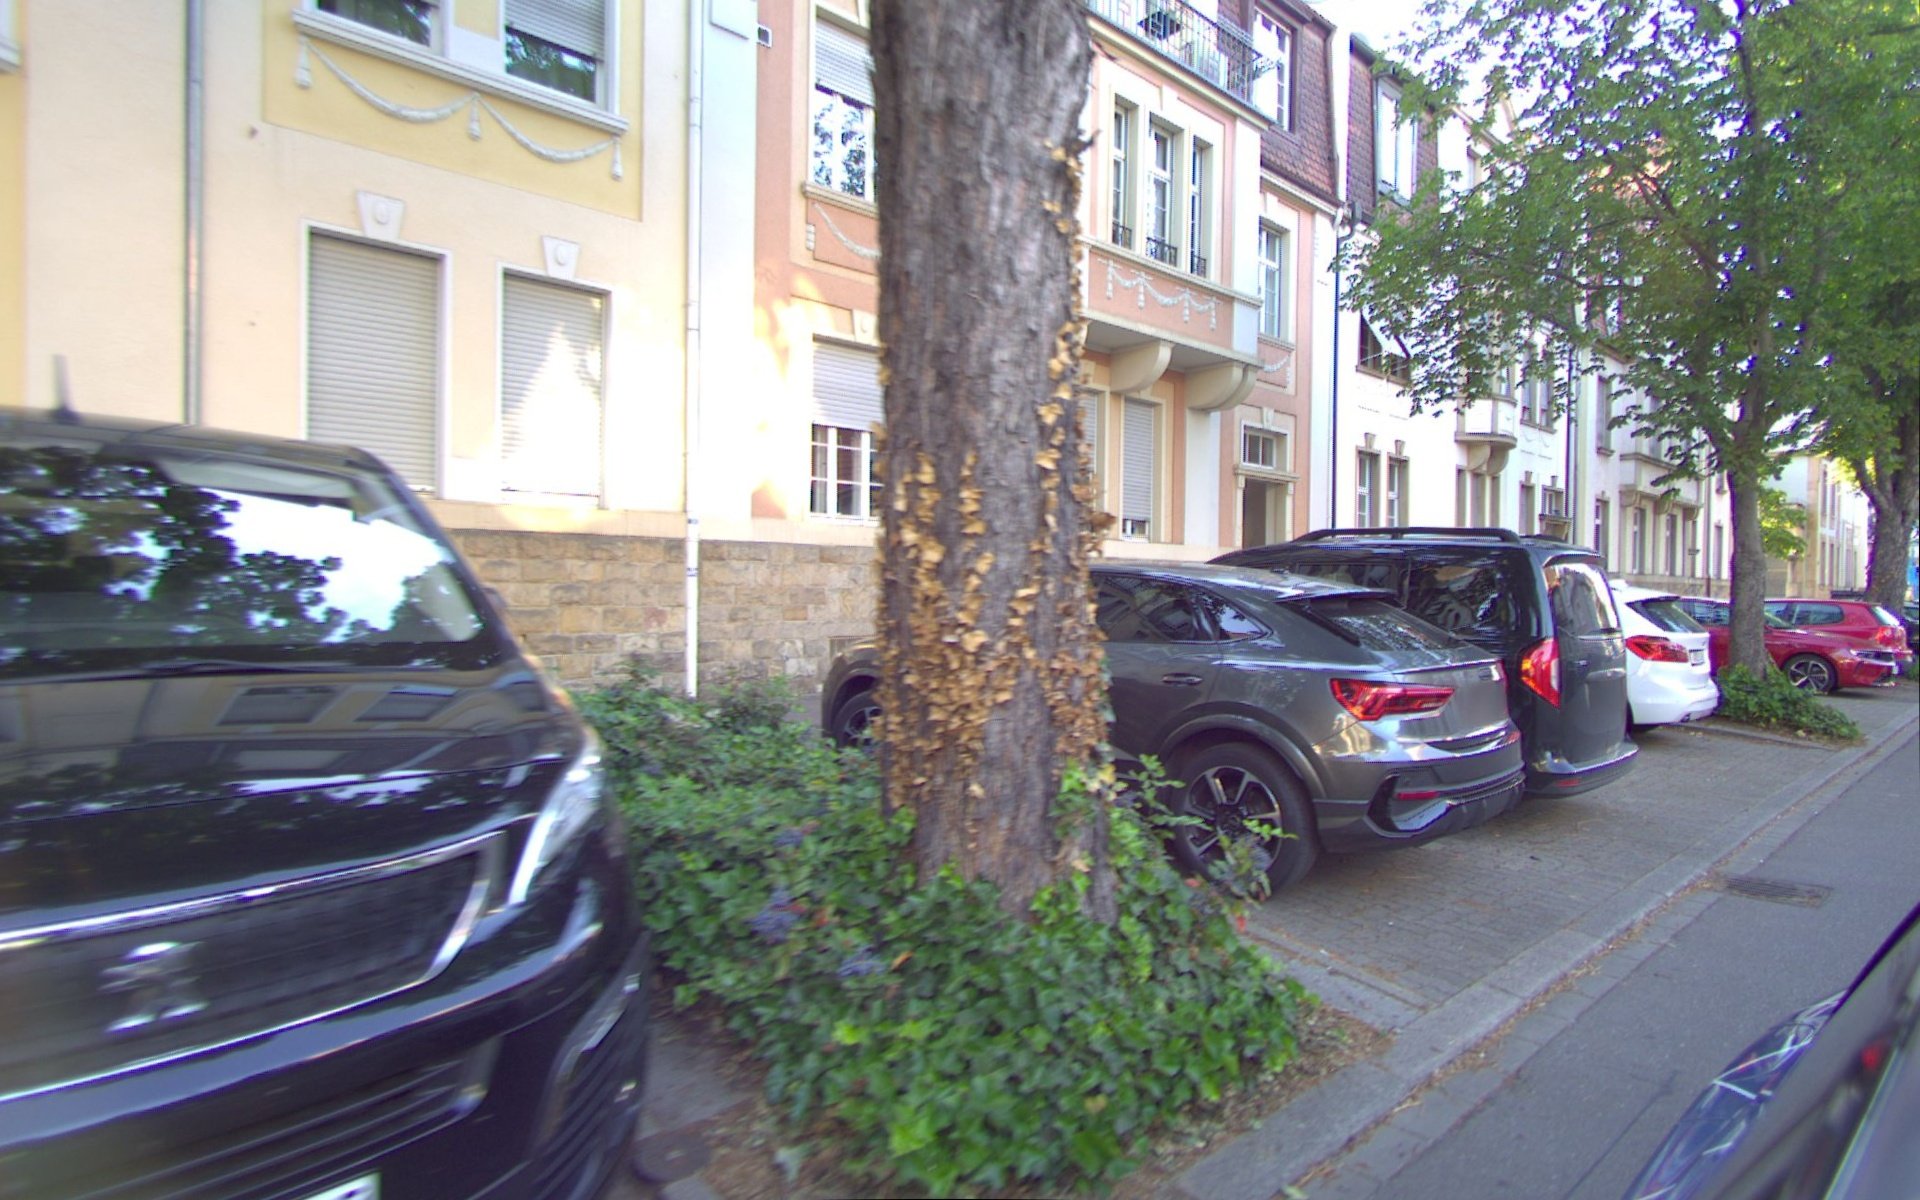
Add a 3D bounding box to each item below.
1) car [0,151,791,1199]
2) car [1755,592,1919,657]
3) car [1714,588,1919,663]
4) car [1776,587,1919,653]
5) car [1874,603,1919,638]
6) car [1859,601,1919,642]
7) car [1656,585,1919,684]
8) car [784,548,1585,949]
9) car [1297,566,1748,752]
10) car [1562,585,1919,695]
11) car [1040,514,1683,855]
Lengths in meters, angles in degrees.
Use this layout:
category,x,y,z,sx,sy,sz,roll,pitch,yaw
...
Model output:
category,x,y,z,sx,sy,sz,roll,pitch,yaw
car,-2.658,0.346,2.963,1.867,1.897,4.753,0,2,-45
car,22.118,0.567,24.966,1.548,1.416,3.680,0,2,-39
car,20.011,0.528,23.549,1.548,1.484,3.680,0,2,-39
car,24.014,0.496,26.627,1.548,1.577,3.680,0,2,-39
car,32.387,0.714,33.166,1.515,1.076,3.399,0,2,-39
car,30.017,0.694,31.091,1.515,1.164,3.399,0,2,-39
car,15.078,0.534,18.369,1.628,1.499,3.681,0,2,-38
car,0.986,0.492,6.183,1.815,1.542,4.512,0,2,-45
car,5.921,0.470,11.031,1.689,1.597,3.947,0,2,-41
car,12.975,0.547,17.003,1.833,1.470,4.533,0,2,-38
car,2.743,0.377,7.647,1.814,1.860,4.116,0,2,-43
